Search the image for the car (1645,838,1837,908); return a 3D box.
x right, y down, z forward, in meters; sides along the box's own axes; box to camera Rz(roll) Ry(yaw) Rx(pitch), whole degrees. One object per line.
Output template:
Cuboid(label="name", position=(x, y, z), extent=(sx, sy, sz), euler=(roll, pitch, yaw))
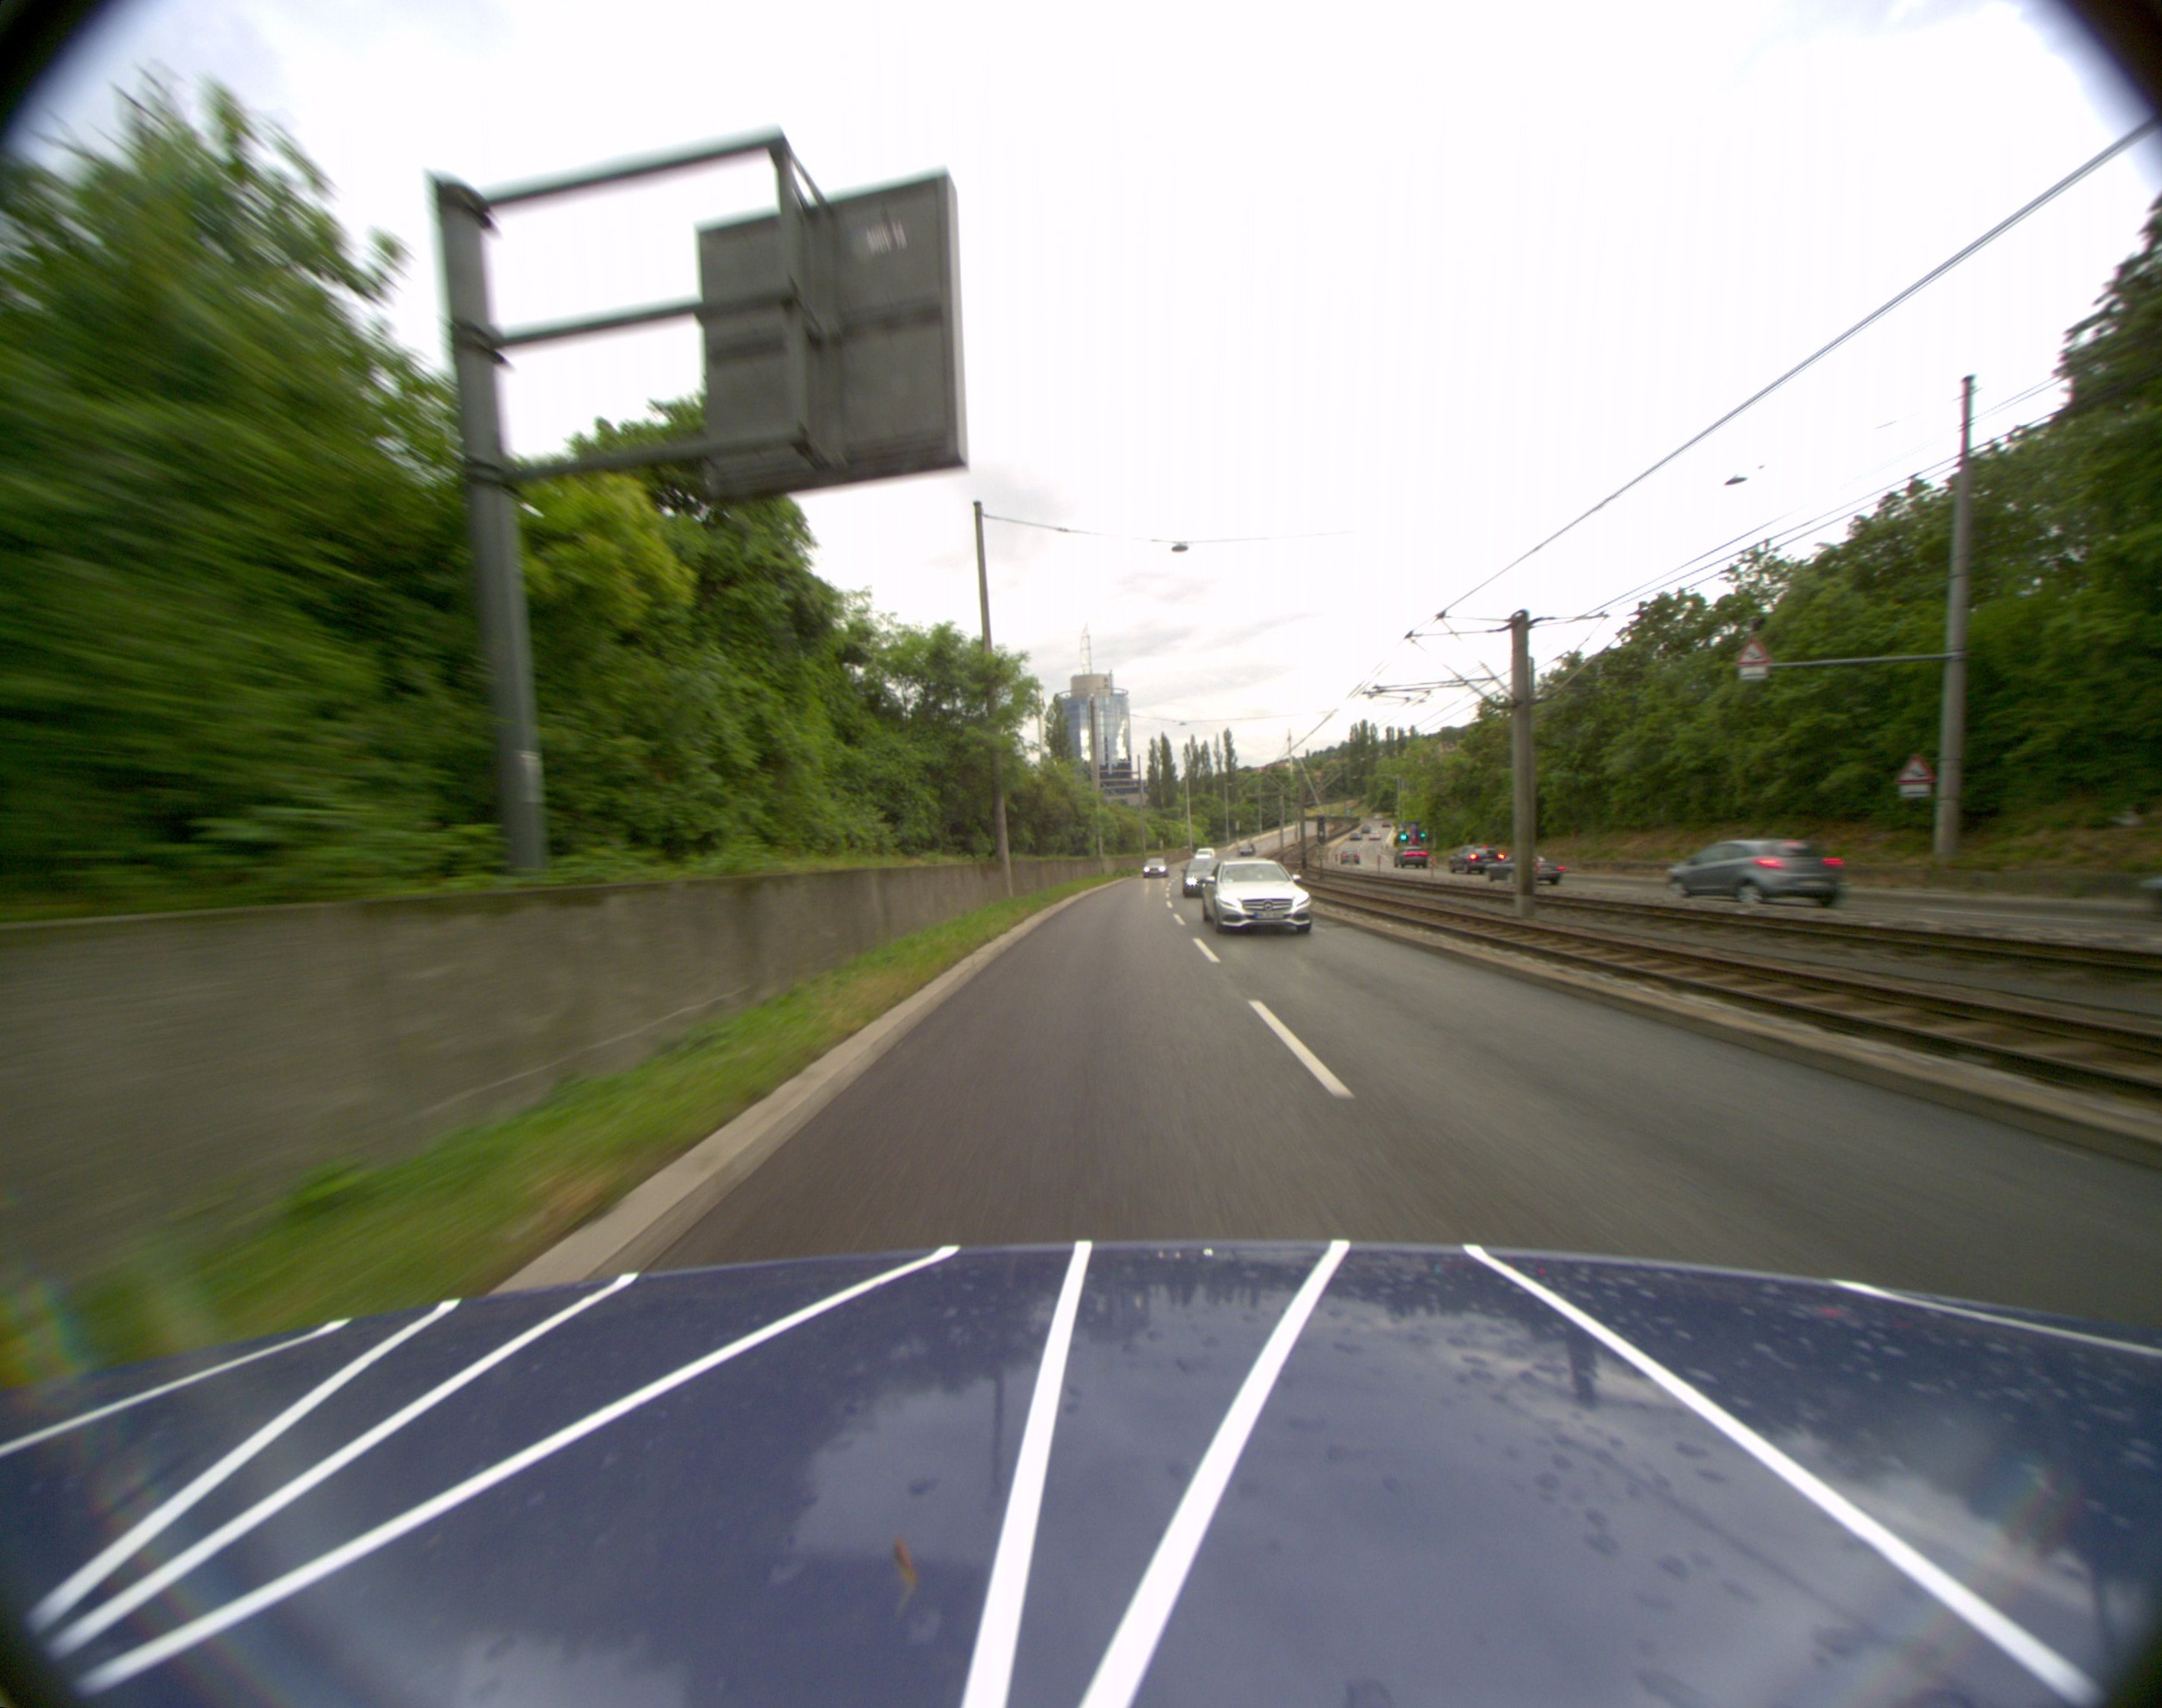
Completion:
Cuboid(label="car", position=(15.354, 0.394, 17.957), extent=(1.541, 1.482, 3.622), euler=(0, 0, 4))

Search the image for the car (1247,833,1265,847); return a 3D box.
Cuboid(label="car", position=(24.757, -1.955, 107.314), extent=(1.765, 1.806, 4.006), euler=(-2, 0, 23))

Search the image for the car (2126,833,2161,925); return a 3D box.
Cuboid(label="car", position=(18.039, 0.392, 10.158), extent=(1.821, 1.453, 4.660), euler=(-1, 0, 2))

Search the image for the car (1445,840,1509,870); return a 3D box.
Cuboid(label="car", position=(22.587, 0.042, 43.559), extent=(1.711, 1.598, 4.413), euler=(0, 0, 5))

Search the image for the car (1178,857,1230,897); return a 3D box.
Cuboid(label="car", position=(4.734, 0.851, 29.659), extent=(1.735, 1.344, 4.002), euler=(-2, 0, 6))

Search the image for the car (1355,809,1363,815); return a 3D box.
Cuboid(label="car", position=(88.953, -13.426, 243.325), extent=(1.971, 1.589, 5.186), euler=(-1, 4, 15))

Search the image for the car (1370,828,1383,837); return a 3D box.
Cuboid(label="car", position=(50.805, -3.650, 130.710), extent=(1.821, 1.372, 4.711), euler=(-1, 1, 19))

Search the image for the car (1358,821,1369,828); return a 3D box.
Cuboid(label="car", position=(56.305, -5.862, 151.572), extent=(1.635, 1.377, 3.898), euler=(0, 2, 15))

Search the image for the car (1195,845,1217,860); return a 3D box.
Cuboid(label="car", position=(15.733, -0.183, 95.489), extent=(1.765, 1.806, 4.006), euler=(-2, 0, 23))

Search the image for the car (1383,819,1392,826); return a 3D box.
Cuboid(label="car", position=(68.380, -7.075, 169.614), extent=(1.717, 1.451, 4.279), euler=(-1, 4, 24))

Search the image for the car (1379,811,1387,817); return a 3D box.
Cuboid(label="car", position=(84.375, -11.223, 212.425), extent=(1.823, 1.507, 4.532), euler=(-1, 5, 20))

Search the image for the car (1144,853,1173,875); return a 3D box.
Cuboid(label="car", position=(5.824, 0.756, 56.776), extent=(1.766, 1.492, 4.003), euler=(-2, 0, 12))

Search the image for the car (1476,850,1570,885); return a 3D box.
Cuboid(label="car", position=(16.917, 0.459, 29.270), extent=(1.547, 1.251, 3.960), euler=(0, 1, 4))

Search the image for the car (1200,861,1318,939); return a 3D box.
Cuboid(label="car", position=(3.567, 0.866, 15.919), extent=(1.871, 1.348, 4.061), euler=(-1, 0, 5))

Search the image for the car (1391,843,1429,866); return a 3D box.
Cuboid(label="car", position=(25.692, -0.005, 59.456), extent=(1.787, 1.660, 4.743), euler=(-2, 0, 11))

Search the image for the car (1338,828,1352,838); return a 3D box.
Cuboid(label="car", position=(46.111, -3.738, 132.603), extent=(1.863, 1.431, 4.861), euler=(-2, 3, 25))

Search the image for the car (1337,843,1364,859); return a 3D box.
Cuboid(label="car", position=(26.517, -0.284, 74.804), extent=(1.709, 1.406, 4.034), euler=(-2, 0, 9))
